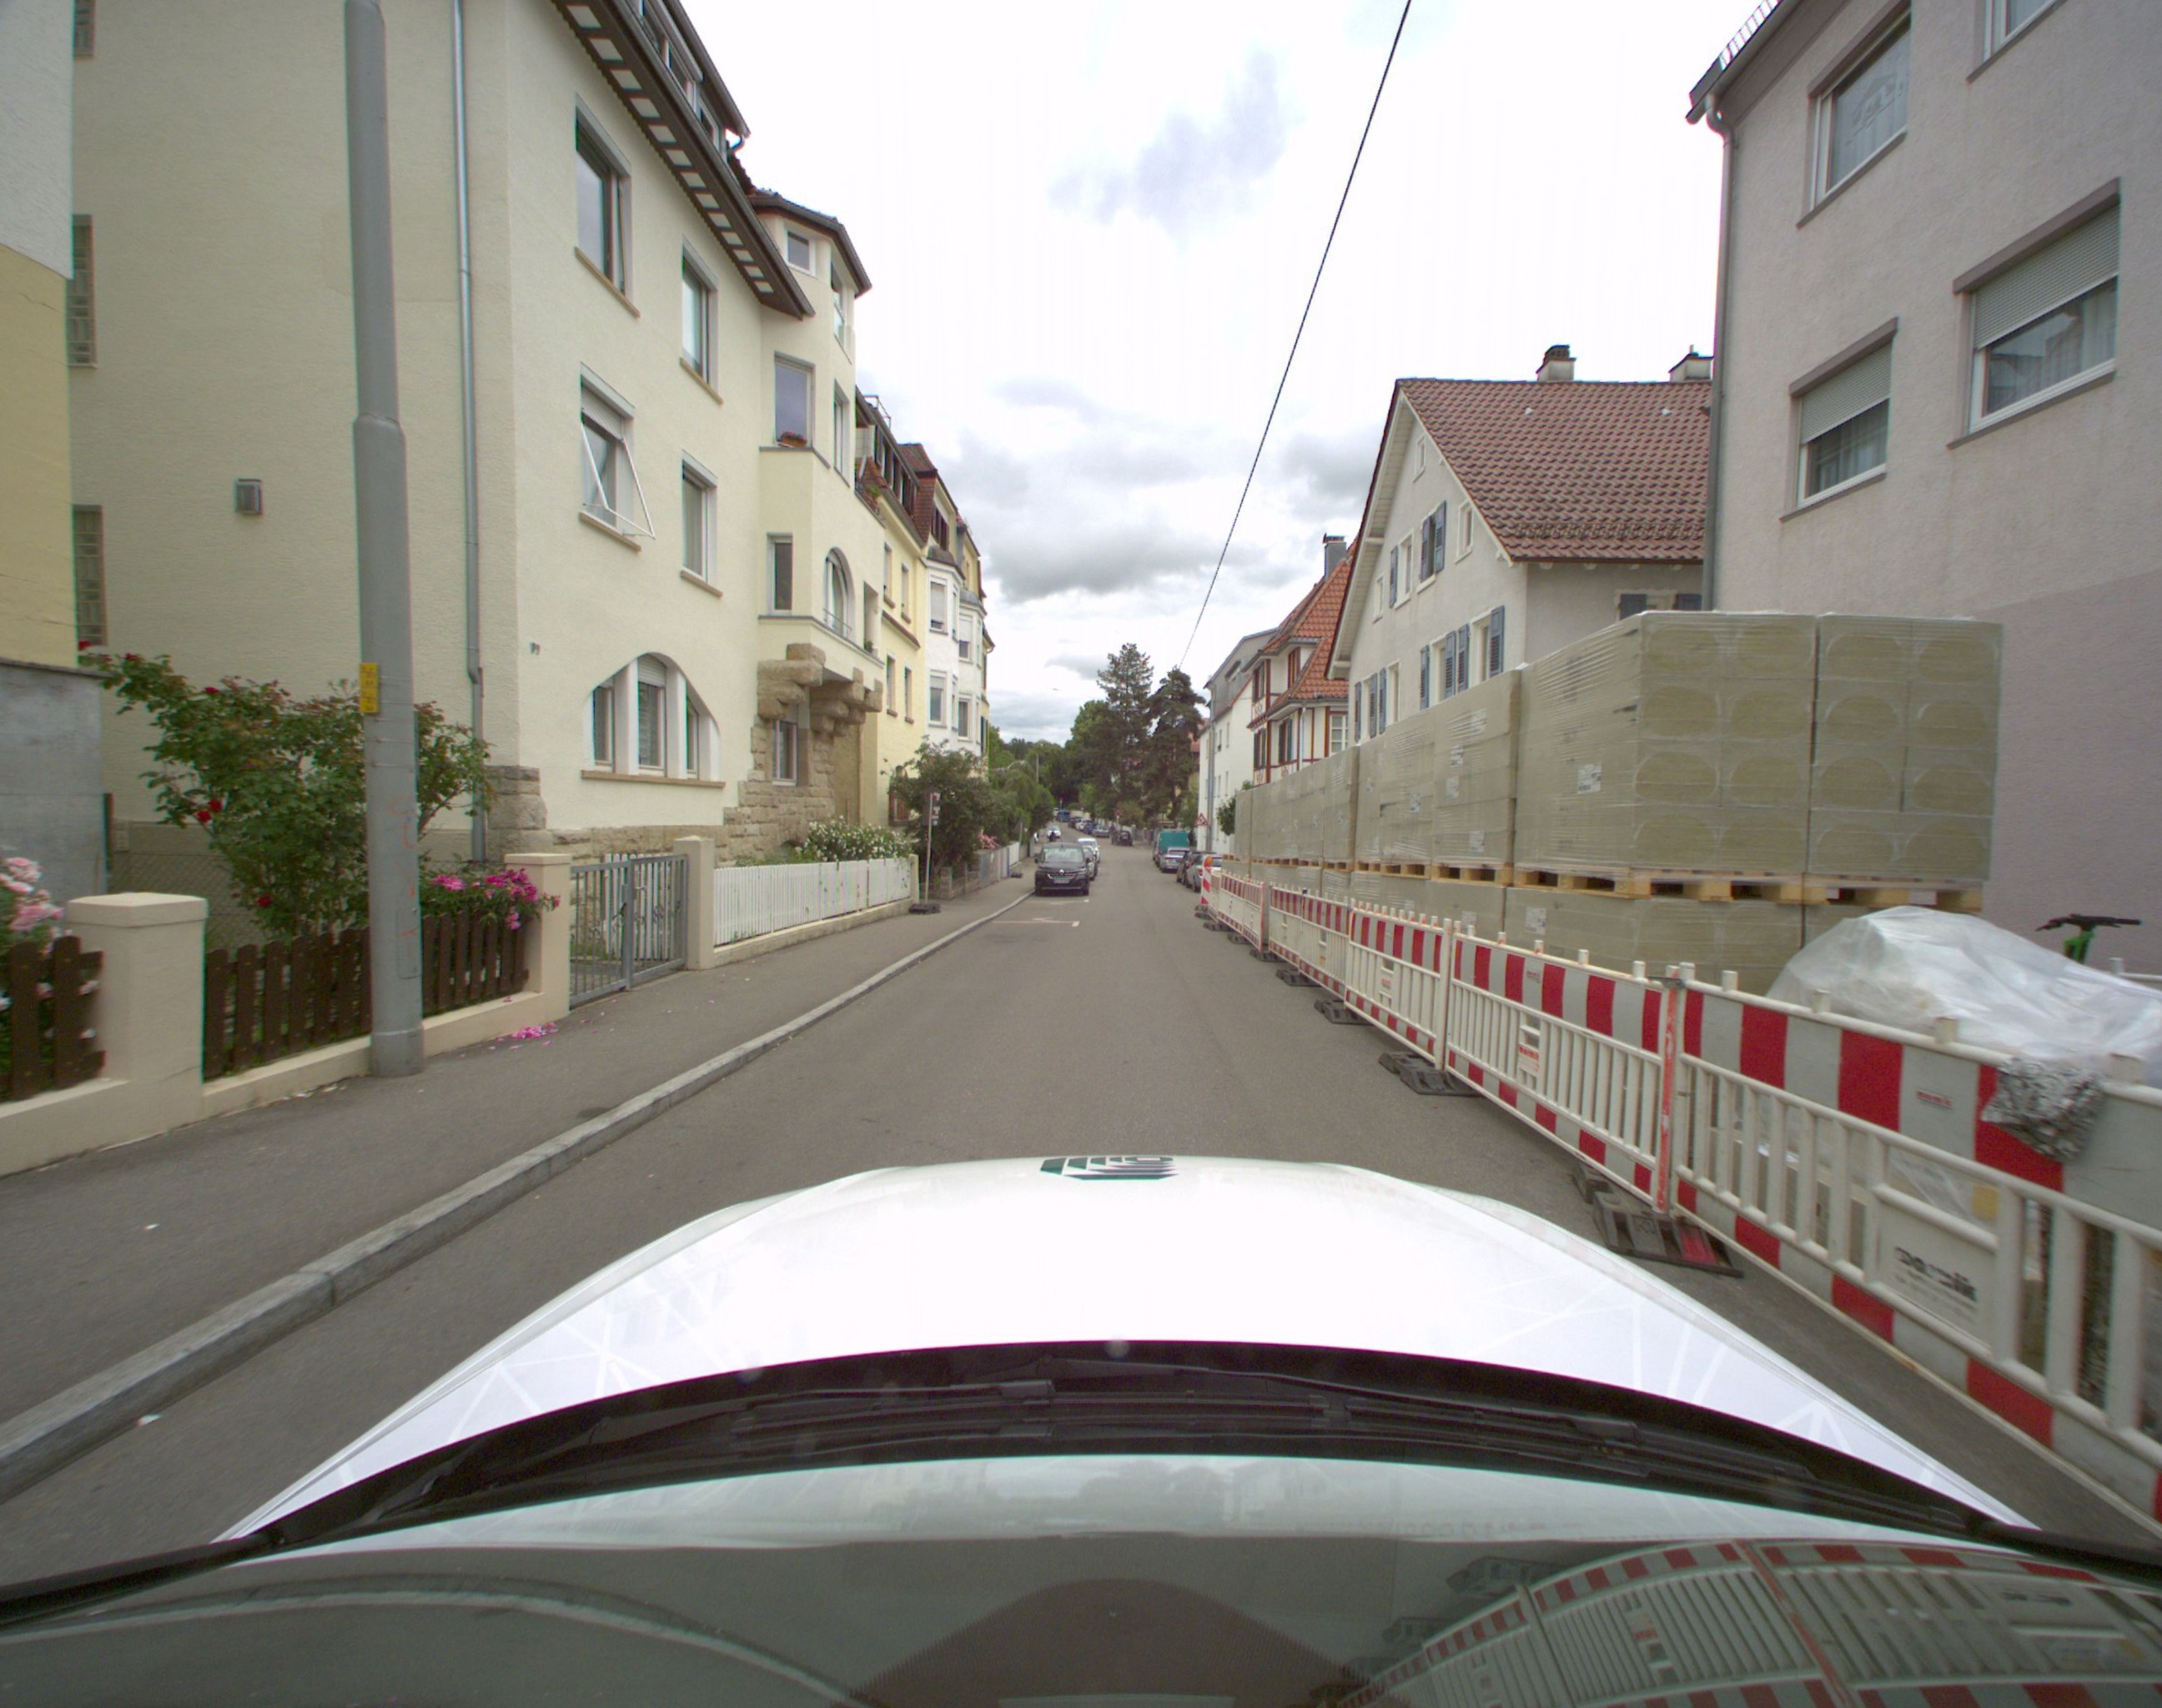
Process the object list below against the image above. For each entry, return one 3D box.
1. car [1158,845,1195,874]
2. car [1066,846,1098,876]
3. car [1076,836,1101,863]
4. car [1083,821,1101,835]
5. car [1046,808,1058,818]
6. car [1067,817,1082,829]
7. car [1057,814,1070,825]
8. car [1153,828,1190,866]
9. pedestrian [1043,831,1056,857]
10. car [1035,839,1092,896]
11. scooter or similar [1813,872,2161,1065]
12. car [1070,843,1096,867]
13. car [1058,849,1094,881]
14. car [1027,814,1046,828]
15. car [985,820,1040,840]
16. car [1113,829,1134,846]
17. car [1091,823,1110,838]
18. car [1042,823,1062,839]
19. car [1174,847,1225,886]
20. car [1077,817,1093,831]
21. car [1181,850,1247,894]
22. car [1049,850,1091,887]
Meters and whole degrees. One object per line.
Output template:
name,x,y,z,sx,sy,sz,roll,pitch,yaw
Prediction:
car,5.407,0.294,46.659,1.719,1.448,3.882,1,2,1
car,0.083,0.349,43.101,1.590,1.478,3.992,0,1,1
car,0.539,-0.341,57.303,1.666,1.656,3.865,0,4,1
car,1.340,-3.151,99.925,1.633,1.483,3.523,2,4,-7
car,-4.819,-6.846,136.566,1.633,1.536,3.523,2,4,-7
car,-0.924,-4.279,112.160,1.633,1.536,3.523,2,4,-7
car,-2.715,-5.412,126.385,1.633,1.536,3.523,2,4,-7
car,5.861,-0.520,53.139,1.973,2.362,4.278,1,2,1
pedestrian,-2.354,-0.731,60.981,0.787,1.932,0.920,2,1,4
car,-0.594,0.436,28.185,1.839,1.815,4.542,0,0,-1
scooter or similar,6.533,0.742,6.026,0.640,1.156,1.766,0,1,0
car,0.149,0.049,52.884,1.590,1.412,3.664,0,2,1
car,-0.188,0.474,38.460,1.636,1.416,3.985,0,1,1
car,-6.093,-4.545,111.490,1.905,1.876,4.577,-1,4,-12
car,-6.166,-2.122,73.705,1.975,1.639,4.841,3,2,44
car,4.353,-1.740,83.470,1.632,1.483,3.525,2,4,-6
car,2.286,-2.747,95.275,1.633,1.483,3.523,2,4,-7
car,-3.300,-2.654,92.883,1.673,1.656,3.850,-1,4,-11
car,5.101,0.506,35.468,1.683,1.519,3.881,2,1,1
car,0.487,-3.901,106.022,1.633,1.536,3.523,2,4,-7
car,4.983,0.644,31.047,1.812,1.441,4.452,2,1,1
car,-0.431,0.569,33.900,1.637,1.387,3.859,0,1,0
